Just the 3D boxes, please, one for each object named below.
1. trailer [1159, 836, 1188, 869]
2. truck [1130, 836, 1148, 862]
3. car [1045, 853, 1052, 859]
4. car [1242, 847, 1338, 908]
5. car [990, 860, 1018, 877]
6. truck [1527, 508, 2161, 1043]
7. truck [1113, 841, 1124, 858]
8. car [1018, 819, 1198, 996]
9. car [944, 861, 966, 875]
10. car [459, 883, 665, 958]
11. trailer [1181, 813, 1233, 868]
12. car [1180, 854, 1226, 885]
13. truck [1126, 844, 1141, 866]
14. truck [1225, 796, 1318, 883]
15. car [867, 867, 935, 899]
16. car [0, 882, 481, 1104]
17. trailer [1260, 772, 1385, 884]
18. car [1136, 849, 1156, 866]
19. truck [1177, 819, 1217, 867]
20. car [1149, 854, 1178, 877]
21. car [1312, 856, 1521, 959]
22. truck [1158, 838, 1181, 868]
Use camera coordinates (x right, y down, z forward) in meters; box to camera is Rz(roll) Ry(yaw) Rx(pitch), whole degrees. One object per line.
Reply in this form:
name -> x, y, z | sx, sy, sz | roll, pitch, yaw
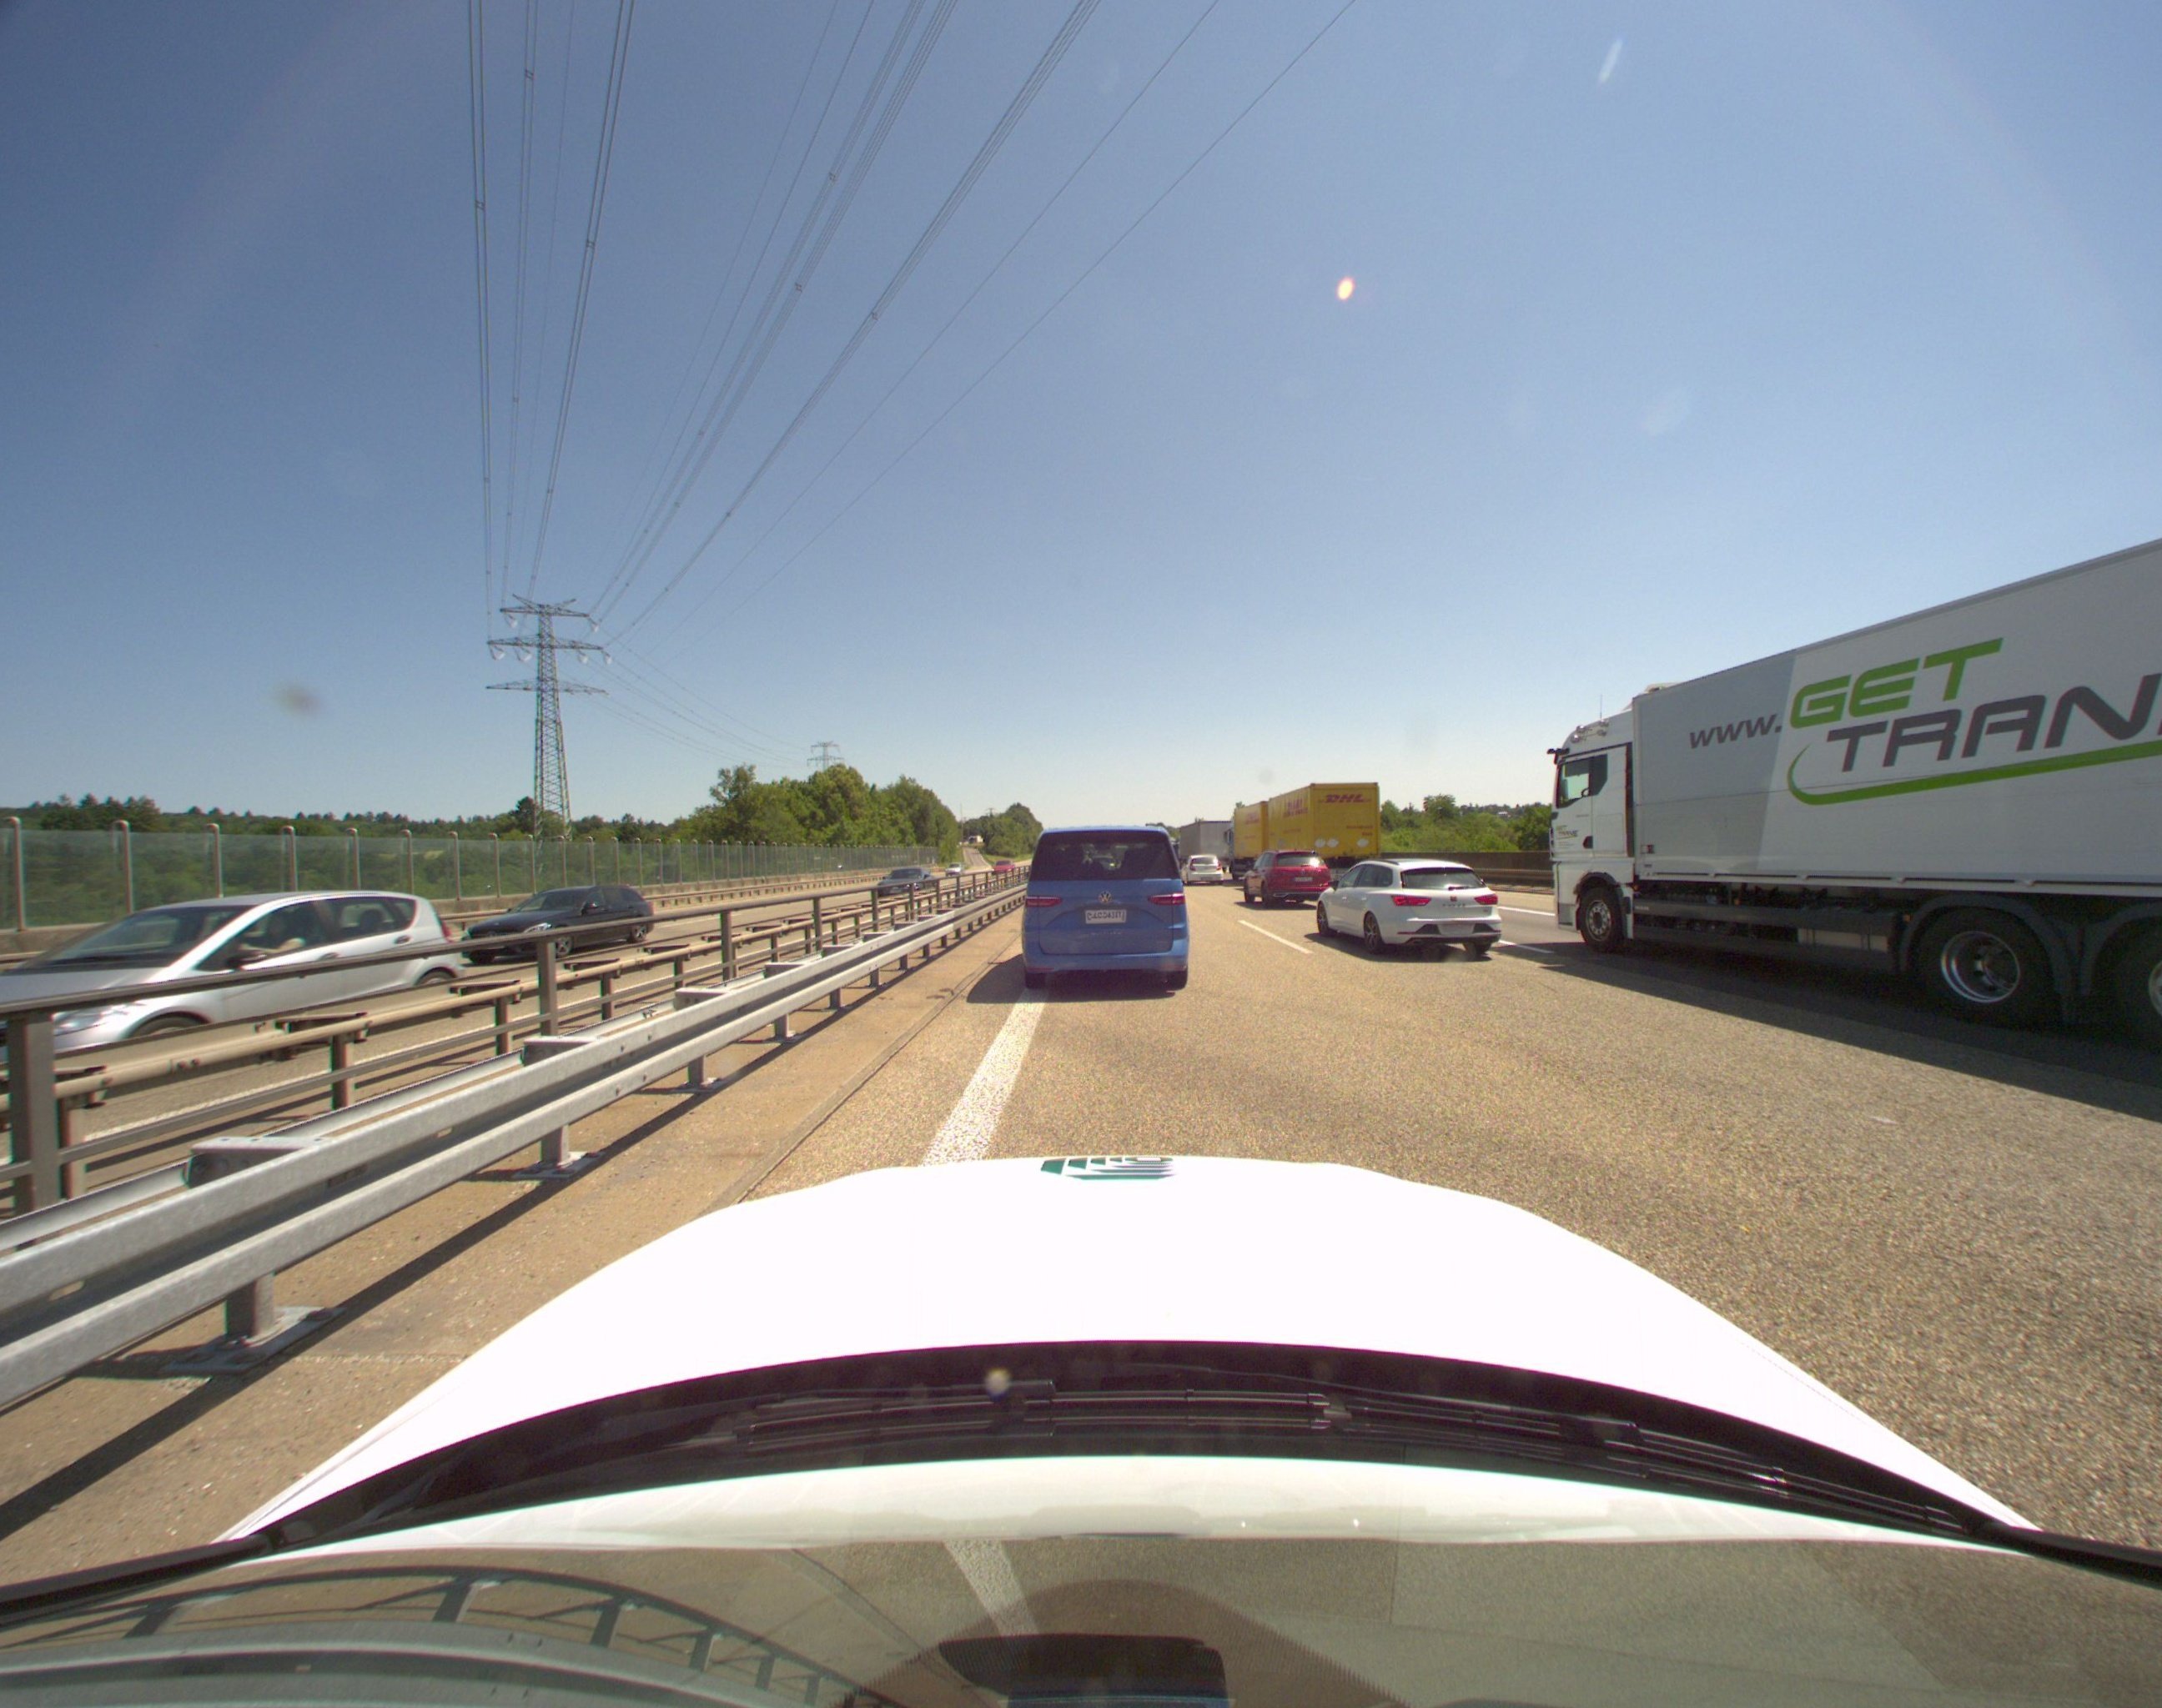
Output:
trailer -> 11.012, -0.116, 97.785 | 2.371, 3.744, 11.189 | 0, -1, 1
truck -> 11.681, -0.893, 164.828 | 2.824, 5.040, 11.144 | 0, -1, 0
car -> -9.769, 0.551, 247.433 | 1.774, 1.569, 4.388 | -3, -1, 1
car -> 5.976, 0.628, 23.709 | 1.844, 1.608, 4.001 | -1, 0, 1
car -> -6.449, 1.209, 69.025 | 1.835, 1.446, 4.420 | 0, -1, 1
truck -> 8.740, -0.505, 8.089 | 2.841, 3.603, 10.769 | 0, -1, 1
truck -> 12.133, -1.465, 265.634 | 2.824, 5.373, 12.552 | 0, -1, 0
car -> 0.339, 0.569, 10.615 | 1.875, 1.837, 4.001 | -1, 0, 1
car -> -13.972, 1.533, 90.442 | 1.599, 1.394, 3.678 | -4, 0, 1
car -> -11.425, 1.399, 18.343 | 1.794, 1.386, 4.264 | 0, -1, 2
trailer -> 10.199, -0.970, 67.019 | 2.745, 4.146, 11.314 | 0, -1, 1
car -> 6.063, 0.738, 40.903 | 1.831, 1.414, 4.001 | -1, 0, 2
truck -> 12.197, 0.248, 189.854 | 2.824, 5.040, 11.814 | 0, -1, 0
truck -> 9.889, -0.625, 43.512 | 2.712, 4.055, 10.337 | 0, -1, 1
car -> -7.782, 1.230, 35.662 | 1.889, 1.315, 4.373 | 0, -1, 2
car -> -8.161, 1.137, 7.953 | 1.834, 1.529, 3.559 | -3, 0, 1
trailer -> 9.690, -0.889, 33.865 | 2.692, 4.023, 8.932 | 0, -1, 1
car -> 6.396, 0.343, 80.151 | 1.709, 1.540, 3.822 | -3, 0, 1
truck -> 10.359, -0.896, 73.524 | 2.758, 4.095, 6.985 | 0, -1, 1
car -> 5.771, 0.828, 57.143 | 1.709, 1.587, 3.822 | -1, -1, 1
car -> 5.203, 0.737, 13.283 | 1.774, 1.387, 4.189 | -1, 0, 2
truck -> 11.151, -0.047, 103.282 | 2.359, 3.722, 6.034 | 0, -1, 1
